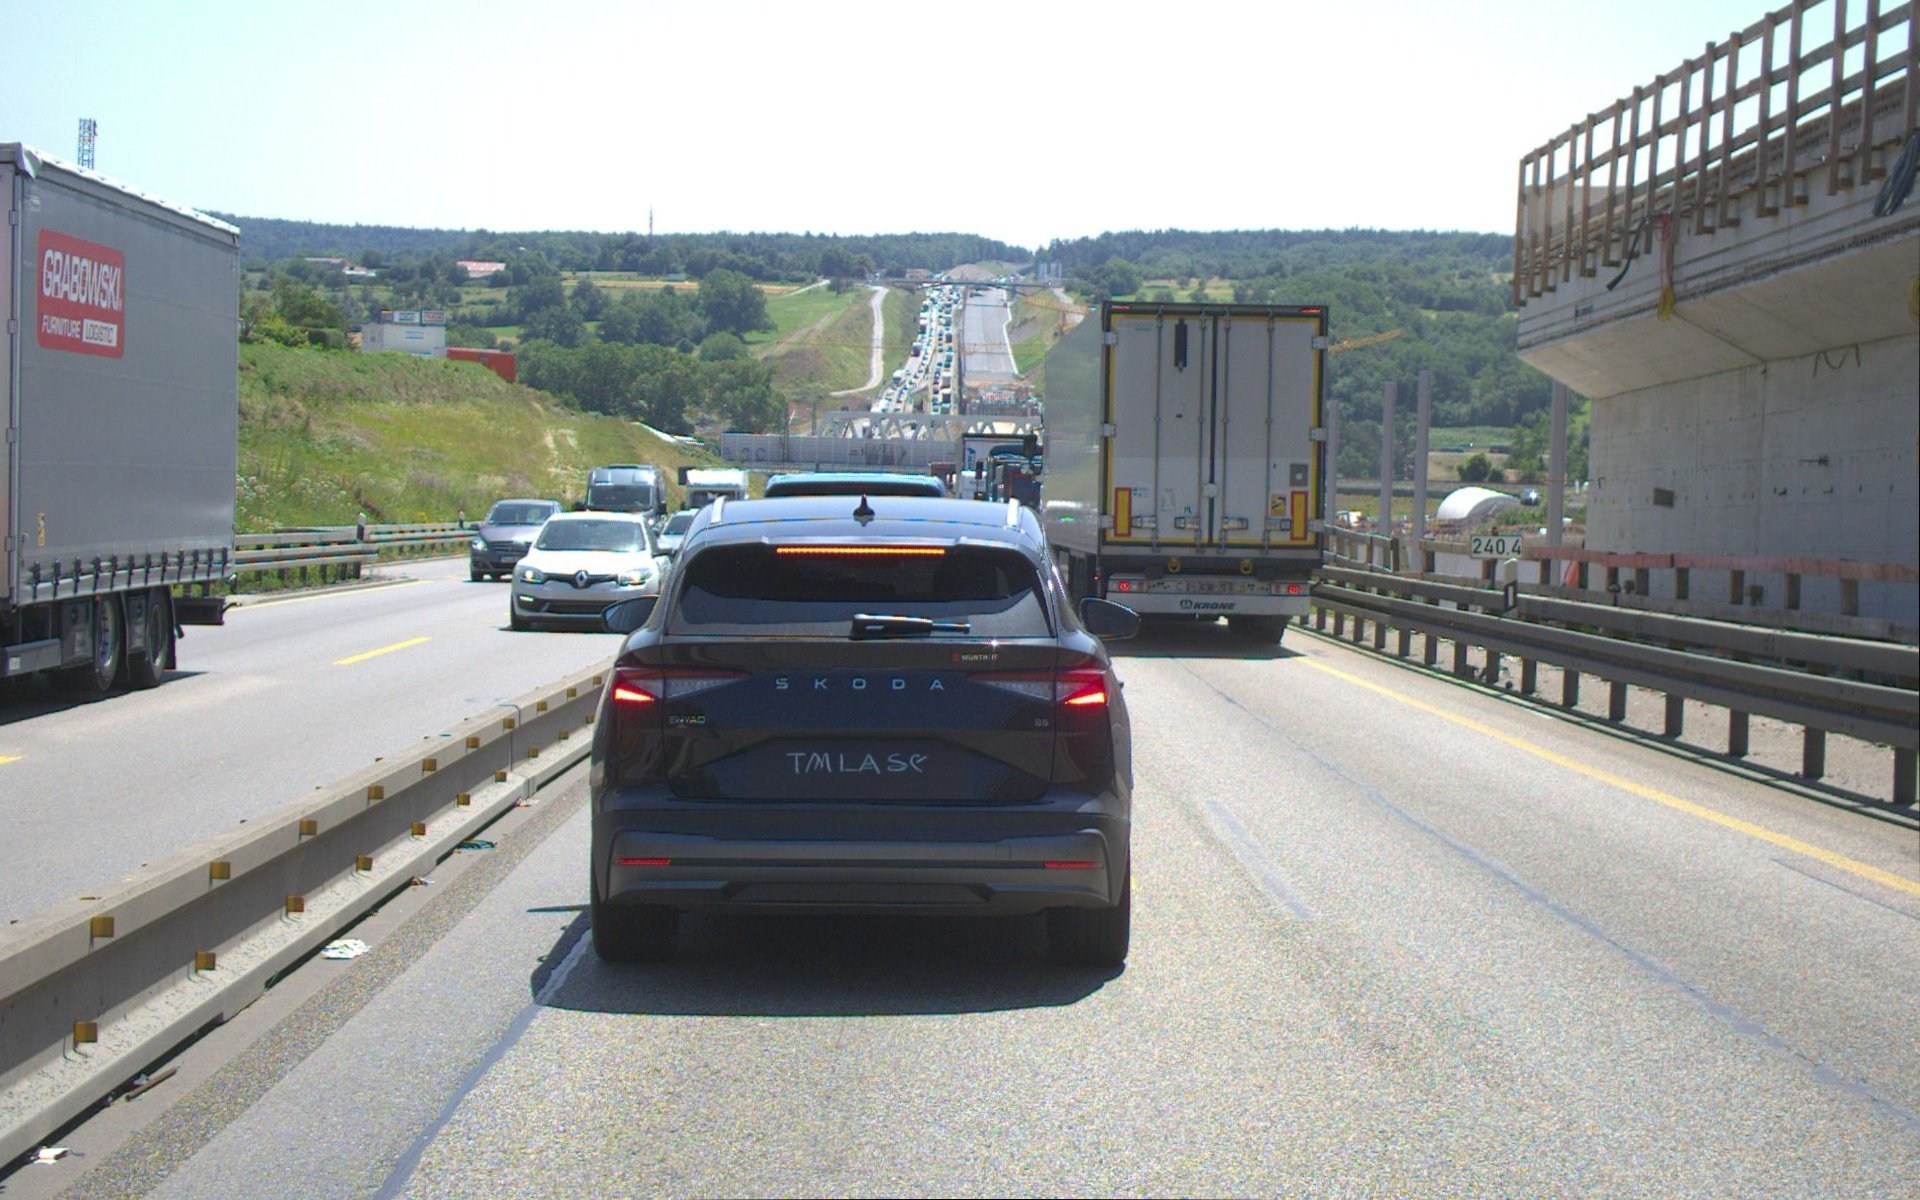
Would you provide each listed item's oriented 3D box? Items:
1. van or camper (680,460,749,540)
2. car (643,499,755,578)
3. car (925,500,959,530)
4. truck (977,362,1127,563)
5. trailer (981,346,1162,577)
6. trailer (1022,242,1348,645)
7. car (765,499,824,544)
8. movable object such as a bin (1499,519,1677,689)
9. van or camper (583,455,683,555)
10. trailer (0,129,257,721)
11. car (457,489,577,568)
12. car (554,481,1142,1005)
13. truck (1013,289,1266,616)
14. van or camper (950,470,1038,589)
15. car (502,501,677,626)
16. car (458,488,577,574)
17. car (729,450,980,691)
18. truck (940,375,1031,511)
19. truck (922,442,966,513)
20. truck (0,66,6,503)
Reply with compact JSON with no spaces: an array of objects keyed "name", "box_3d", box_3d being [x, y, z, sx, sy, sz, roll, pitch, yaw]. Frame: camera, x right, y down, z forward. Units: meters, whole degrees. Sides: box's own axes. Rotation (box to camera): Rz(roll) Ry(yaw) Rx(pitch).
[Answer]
[{"name":"van or camper","box_3d":[-9.719,-3.988,136.638,2.291,3.056,6.925,1,2,-1]},{"name":"car","box_3d":[-4.892,-1.176,65.016,1.829,1.428,4.630,0,1,-1]},{"name":"car","box_3d":[-0.973,-4.642,188.064,1.813,1.596,4.573,1,2,0]},{"name":"truck","box_3d":[2.114,-3.173,82.309,3.180,4.497,8.166,1,1,-1]},{"name":"trailer","box_3d":[2.253,-2.804,75.317,3.180,4.497,14.968,1,1,-1]},{"name":"trailer","box_3d":[2.666,-2.002,45.449,3.180,4.497,13.110,1,2,-1]},{"name":"car","box_3d":[-5.587,-2.677,116.450,1.842,1.470,4.835,1,2,-1]},{"name":"movable object such as a bin","box_3d":[18.389,0.068,101.308,3.227,4.726,9.656,1,1,-1]},{"name":"van or camper","box_3d":[-8.834,-2.585,93.452,2.140,2.564,6.565,2,2,-1]},{"name":"trailer","box_3d":[-7.910,-1.289,27.410,2.929,3.975,8.707,1,1,-1]},{"name":"car","box_3d":[-8.632,-1.374,67.242,1.993,1.469,4.000,1,1,-3]},{"name":"car","box_3d":[-0.354,0.406,12.689,1.802,1.602,4.000,1,1,0]},{"name":"truck","box_3d":[2.558,-2.195,51.912,3.180,4.497,8.167,1,2,-1]},{"name":"van or camper","box_3d":[1.012,-1.977,98.392,2.389,3.269,6.469,1,0,1]},{"name":"car","box_3d":[-4.592,-0.487,43.037,1.802,1.459,4.000,1,1,-1]},{"name":"car","box_3d":[-8.642,-1.370,67.425,1.773,1.576,4.286,2,1,-1]},{"name":"car","box_3d":[-0.892,-0.260,30.049,1.993,1.919,4.508,1,1,-1]},{"name":"truck","box_3d":[0.830,-5.582,124.588,2.852,4.449,11.918,1,1,-1]},{"name":"truck","box_3d":[-1.059,-7.673,217.252,2.639,4.179,9.284,1,1,-1]},{"name":"truck","box_3d":[-7.667,-1.282,17.844,2.621,4.381,10.386,1,1,-1]}]
